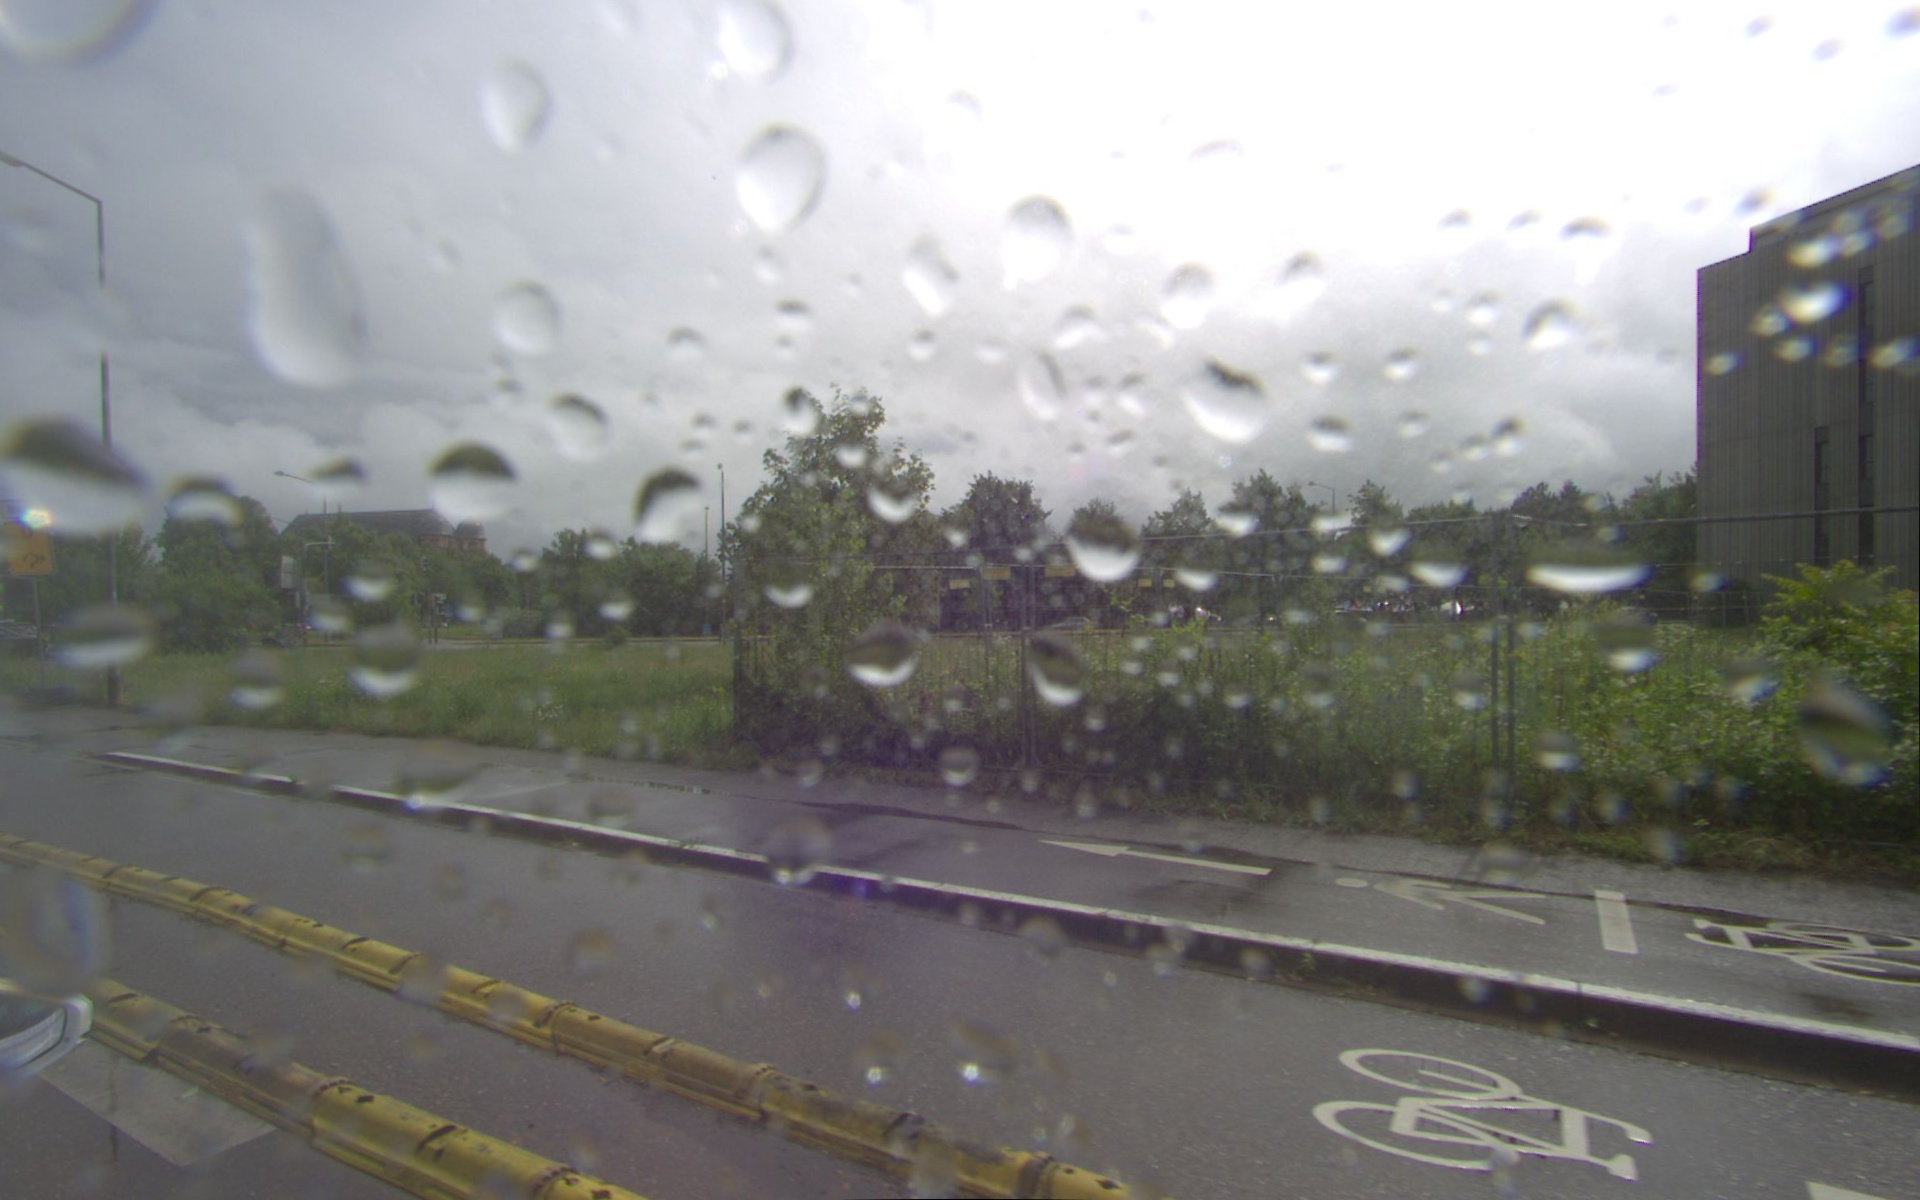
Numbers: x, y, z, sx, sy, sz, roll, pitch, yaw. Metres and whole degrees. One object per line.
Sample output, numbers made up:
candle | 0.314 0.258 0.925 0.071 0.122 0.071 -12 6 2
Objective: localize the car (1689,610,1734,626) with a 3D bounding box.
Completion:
car | 78.576 1.901 104.698 4.158 1.579 1.541 0 0 -15

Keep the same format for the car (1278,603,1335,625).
car | 32.078 1.316 92.726 4.876 1.944 1.996 0 0 -19

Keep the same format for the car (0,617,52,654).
car | -44.877 1.637 46.417 1.650 1.666 3.927 -1 -1 38

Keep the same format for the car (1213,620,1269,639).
car | 24.200 2.519 86.207 4.227 1.581 1.911 0 0 -15
